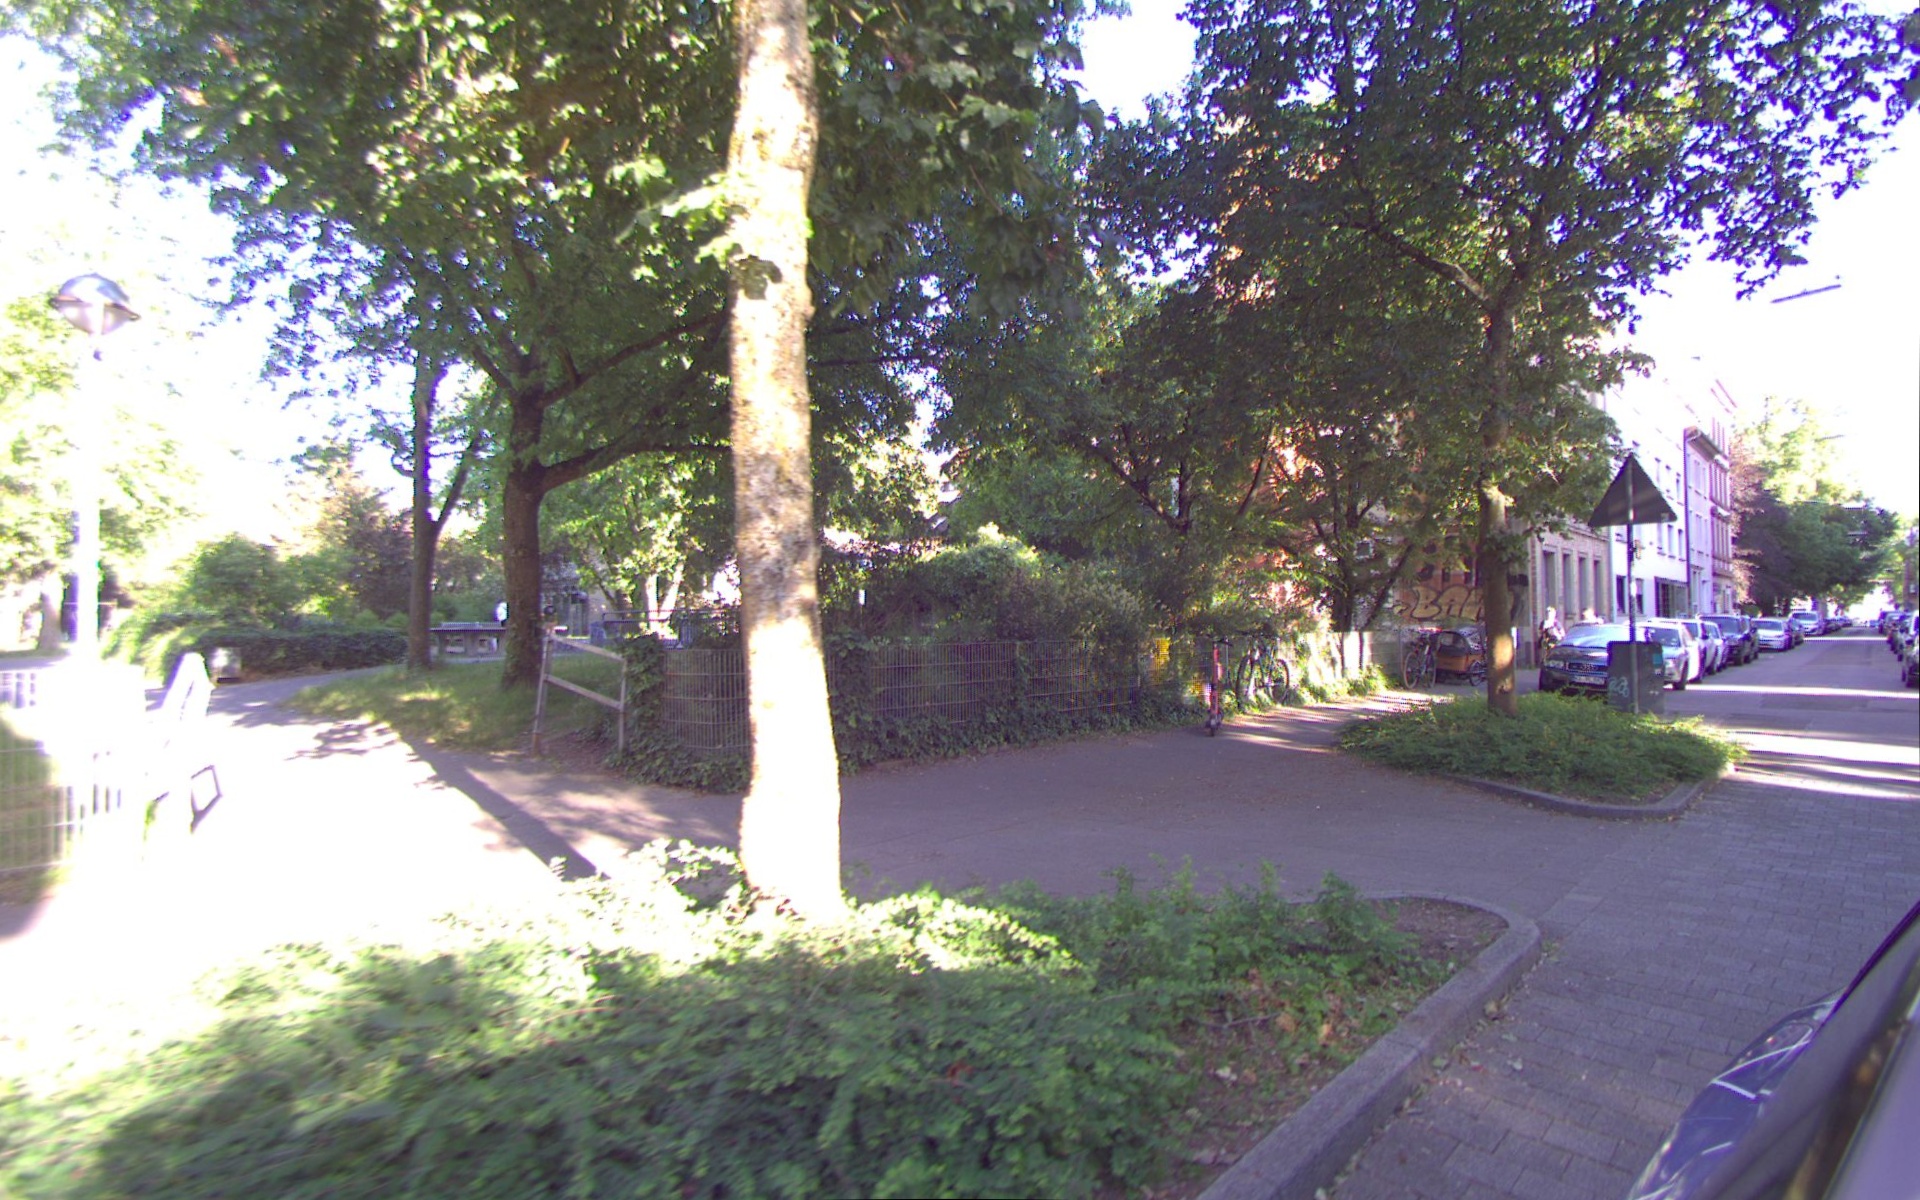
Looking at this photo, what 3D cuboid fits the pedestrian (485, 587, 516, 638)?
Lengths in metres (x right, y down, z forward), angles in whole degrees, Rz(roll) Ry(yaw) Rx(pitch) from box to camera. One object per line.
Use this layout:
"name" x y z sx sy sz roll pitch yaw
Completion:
"pedestrian" -18.565 0.482 40.916 0.894 2.039 0.749 0 -1 0

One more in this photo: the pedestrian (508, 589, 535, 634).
"pedestrian" -19.760 0.512 45.647 0.894 2.039 0.749 0 -1 0

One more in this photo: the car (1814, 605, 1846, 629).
"car" 69.784 1.350 81.128 1.763 1.880 4.219 -1 -1 43

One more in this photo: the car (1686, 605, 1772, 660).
"car" 25.621 1.035 33.672 1.766 1.688 4.258 0 -1 44

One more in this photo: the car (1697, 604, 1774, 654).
"car" 28.851 1.022 37.618 1.881 1.687 4.261 2 1 43

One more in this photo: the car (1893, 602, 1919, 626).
"car" 86.956 1.276 92.991 1.764 2.113 4.198 2 1 43

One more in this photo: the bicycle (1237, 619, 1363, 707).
"bicycle" 5.480 0.954 16.194 0.847 1.284 2.648 -1 -2 44

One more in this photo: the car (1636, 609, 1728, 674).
"car" 19.412 1.050 27.153 1.593 1.605 3.705 0 0 43

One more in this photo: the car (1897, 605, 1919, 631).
"car" 73.281 1.377 77.768 1.764 1.880 3.931 2 1 43

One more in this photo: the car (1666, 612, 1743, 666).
"car" 22.371 1.109 30.352 1.592 1.469 3.944 1 0 41

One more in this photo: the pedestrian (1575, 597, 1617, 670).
"pedestrian" 15.719 0.814 25.023 0.710 1.730 0.740 3 1 43

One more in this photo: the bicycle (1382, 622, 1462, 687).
"bicycle" 9.202 1.055 20.118 0.847 1.216 1.949 -1 -2 44

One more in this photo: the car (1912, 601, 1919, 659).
"car" 31.086 0.930 31.607 1.748 1.763 4.250 2 1 41

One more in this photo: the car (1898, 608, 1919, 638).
"car" 53.966 1.293 56.863 1.764 1.552 4.040 2 1 43

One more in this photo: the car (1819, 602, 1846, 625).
"car" 81.875 1.253 94.979 1.764 2.043 4.198 2 1 43

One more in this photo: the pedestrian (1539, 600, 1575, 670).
"pedestrian" 15.159 0.872 25.701 0.597 1.730 0.695 3 1 43

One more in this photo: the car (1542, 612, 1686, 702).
"car" 12.766 1.009 19.640 1.720 1.513 4.347 0 0 42

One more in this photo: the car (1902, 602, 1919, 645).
"car" 43.875 1.052 45.795 1.764 1.847 4.040 2 1 43

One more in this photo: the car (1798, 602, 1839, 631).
"car" 65.050 1.224 76.669 4.406 2.006 1.863 0 1 -44

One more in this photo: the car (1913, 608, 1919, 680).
"car" 21.997 0.957 21.982 1.779 1.461 4.325 2 1 42

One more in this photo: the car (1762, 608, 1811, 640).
"car" 43.428 1.243 53.129 1.764 1.553 4.040 1 1 43

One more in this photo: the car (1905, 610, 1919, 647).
"car" 40.347 1.186 41.879 1.764 1.490 3.757 2 1 43

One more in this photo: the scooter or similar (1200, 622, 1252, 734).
"scooter or similar" 3.318 0.938 12.711 0.538 1.278 1.468 1 0 12

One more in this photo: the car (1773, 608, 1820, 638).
"car" 46.951 1.277 56.773 1.764 1.552 4.040 2 1 43

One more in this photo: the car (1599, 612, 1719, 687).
"car" 16.039 1.055 23.147 1.659 1.512 4.285 1 0 43

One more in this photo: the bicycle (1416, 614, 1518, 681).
"bicycle" 11.031 0.990 21.971 2.288 1.318 1.292 1 0 -44

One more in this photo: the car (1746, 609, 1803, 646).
"car" 37.384 1.204 46.398 1.764 1.536 4.040 2 1 43

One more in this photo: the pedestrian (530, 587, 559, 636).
"pedestrian" -17.429 0.495 42.444 0.894 2.039 0.749 0 -1 0
